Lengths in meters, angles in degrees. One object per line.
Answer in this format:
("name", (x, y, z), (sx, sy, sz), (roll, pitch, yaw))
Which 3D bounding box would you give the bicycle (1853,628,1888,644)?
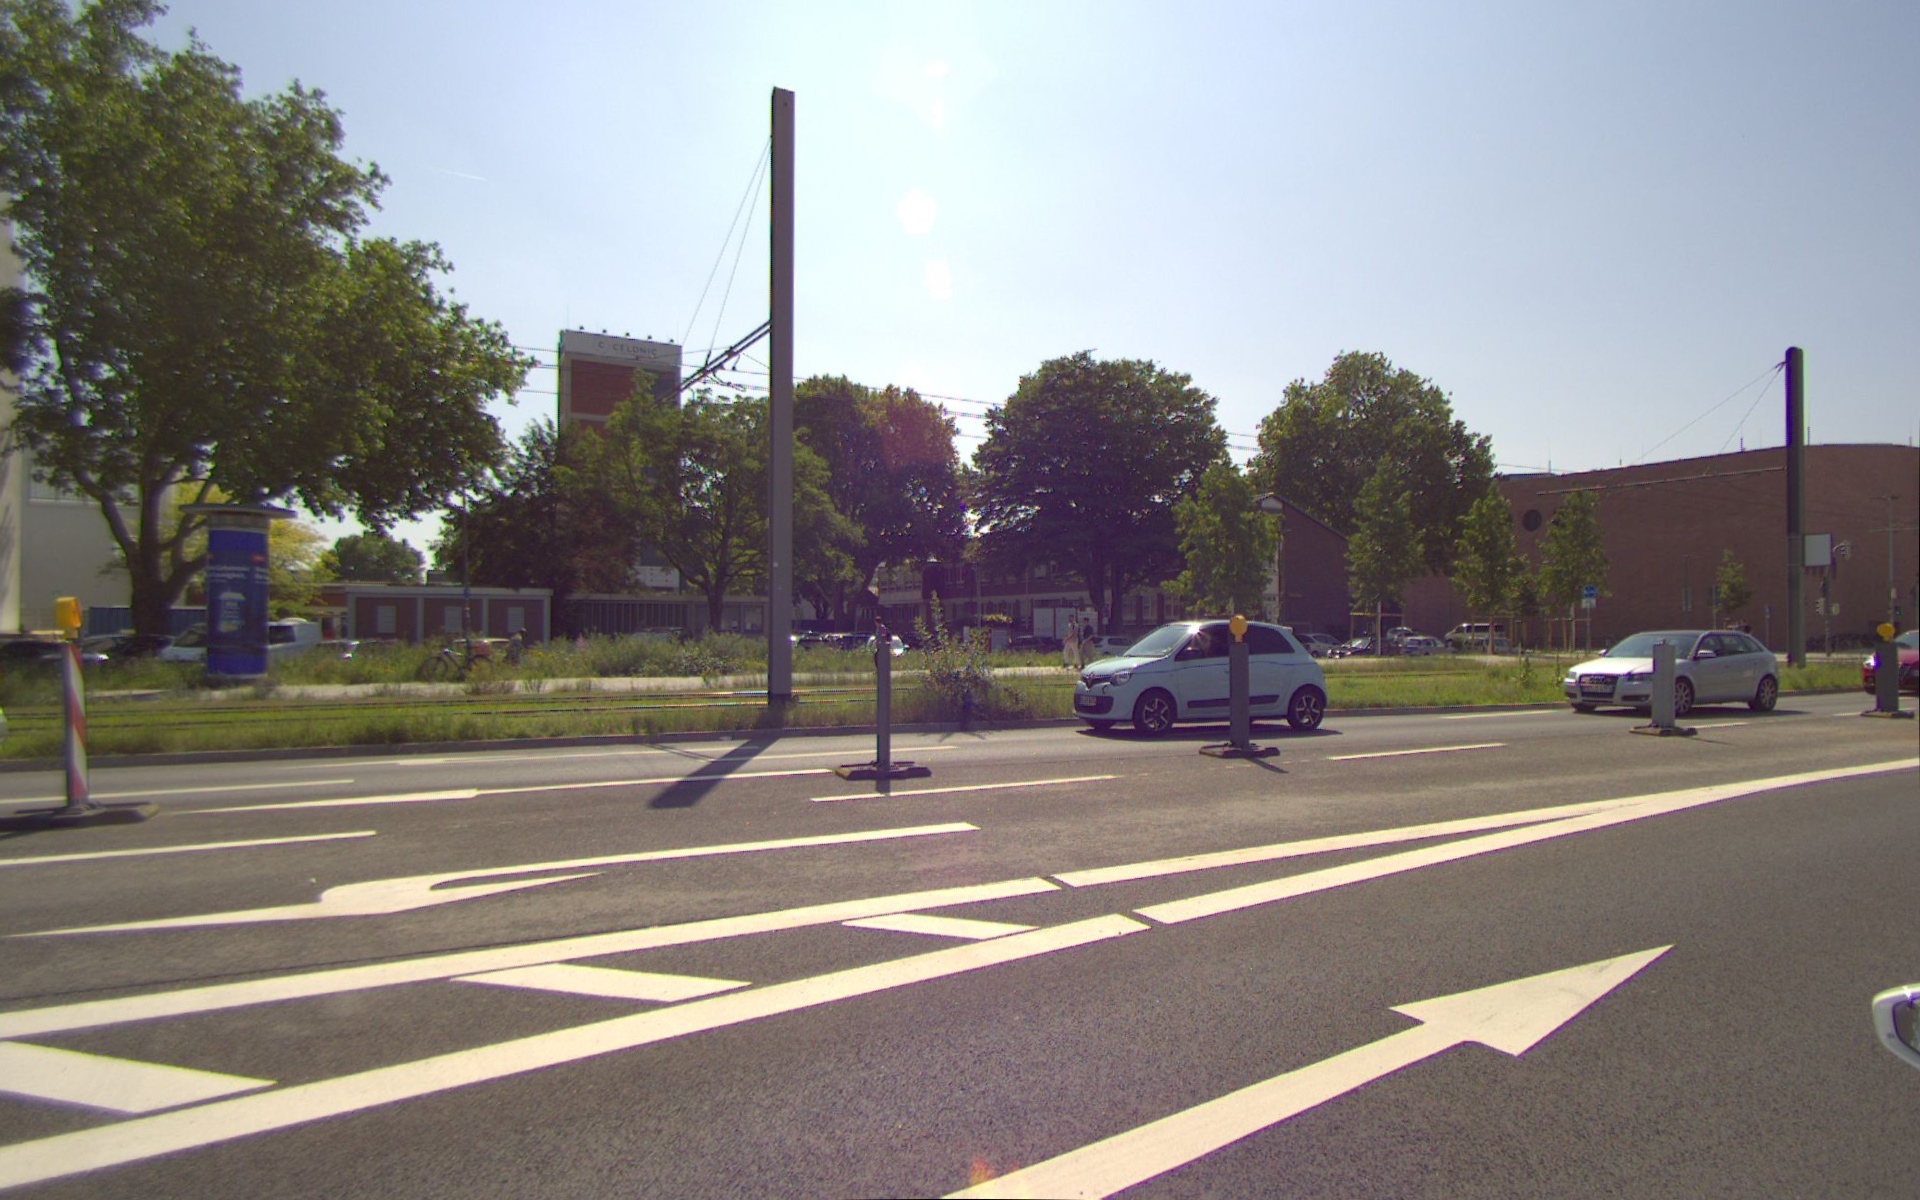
("bicycle", (71.851, 2.838, 79.284), (0.535, 1.228, 2.035), (0, -1, -38))

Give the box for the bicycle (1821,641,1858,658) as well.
("bicycle", (65.121, 3.651, 74.386), (0.535, 1.228, 2.035), (0, -1, -38))

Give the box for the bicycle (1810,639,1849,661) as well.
("bicycle", (60.767, 3.497, 70.201), (0.535, 1.472, 2.035), (0, -1, -38))

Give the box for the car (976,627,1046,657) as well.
("car", (2.699, 2.231, 53.959), (1.533, 1.476, 3.702), (1, -1, -45))

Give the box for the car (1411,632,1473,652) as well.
("car", (36.956, 3.208, 77.141), (1.972, 1.421, 3.978), (2, -1, -23))

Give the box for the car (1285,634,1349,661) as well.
("car", (21.242, 2.794, 59.695), (3.741, 1.476, 1.532), (1, -1, -29))

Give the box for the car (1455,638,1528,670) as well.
("car", (30.963, 3.135, 58.464), (4.248, 1.784, 1.691), (2, -1, -29))

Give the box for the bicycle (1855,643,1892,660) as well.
("bicycle", (69.791, 3.958, 76.778), (0.535, 1.228, 2.035), (0, -1, -38))

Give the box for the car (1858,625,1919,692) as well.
("car", (22.114, 1.310, 22.669), (3.951, 1.435, 1.573), (1, -2, -30))

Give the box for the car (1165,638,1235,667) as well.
("car", (12.989, 2.837, 54.374), (3.747, 1.476, 1.529), (1, -1, -33))

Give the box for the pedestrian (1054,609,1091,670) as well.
("pedestrian", (3.790, 1.322, 33.878), (0.970, 2.040, 0.836), (1, 0, -26))

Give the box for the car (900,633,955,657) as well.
("car", (-2.145, 2.948, 66.598), (3.307, 1.472, 1.529), (1, 0, -31))

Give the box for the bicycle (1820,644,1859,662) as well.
("bicycle", (62.425, 3.731, 71.311), (0.535, 1.228, 2.035), (0, -1, -38))

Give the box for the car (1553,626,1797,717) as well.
("car", (12.538, 1.205, 17.585), (4.237, 1.435, 1.576), (1, -2, -25))

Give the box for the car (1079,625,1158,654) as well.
("car", (8.401, 2.095, 53.163), (4.223, 1.476, 1.529), (2, -1, -34))

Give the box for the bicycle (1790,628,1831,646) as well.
("bicycle", (57.135, 2.475, 67.484), (0.535, 1.228, 2.035), (1, -1, -38))

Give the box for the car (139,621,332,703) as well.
("car", (-21.254, 1.742, 29.805), (2.072, 2.208, 5.076), (1, -1, -1))

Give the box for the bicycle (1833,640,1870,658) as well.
("bicycle", (66.822, 3.661, 75.275), (0.535, 1.228, 2.035), (0, -1, -38))

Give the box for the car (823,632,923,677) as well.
("car", (-3.499, 2.161, 40.498), (3.599, 1.612, 1.757), (1, 0, -34))

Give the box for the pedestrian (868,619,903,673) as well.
("pedestrian", (-2.226, 1.370, 30.118), (0.815, 1.597, 0.812), (1, -1, -23))

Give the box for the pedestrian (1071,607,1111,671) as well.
("pedestrian", (4.309, 1.260, 32.977), (0.898, 2.040, 0.980), (1, 0, -26))

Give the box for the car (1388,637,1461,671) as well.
("car", (25.715, 2.983, 55.603), (3.891, 1.784, 1.691), (2, -1, -28))

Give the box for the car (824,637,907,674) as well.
("car", (-4.553, 2.631, 48.540), (3.599, 1.612, 1.757), (1, 0, -34))

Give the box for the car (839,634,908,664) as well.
("car", (-4.568, 2.561, 53.260), (3.307, 1.472, 1.529), (1, 0, -31))

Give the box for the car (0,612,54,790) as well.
("car", (-9.942, 0.799, 7.470), (4.410, 1.462, 1.668), (1, -3, -26))

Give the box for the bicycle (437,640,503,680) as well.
("bicycle", (-12.756, 1.549, 26.179), (1.536, 0.999, 0.459), (1, -1, -26))

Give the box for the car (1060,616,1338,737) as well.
("car", (3.373, 1.056, 14.239), (3.568, 1.550, 1.578), (1, -4, -22))

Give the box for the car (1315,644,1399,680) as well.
("car", (21.089, 3.267, 53.297), (4.475, 1.784, 1.691), (2, -1, -29))

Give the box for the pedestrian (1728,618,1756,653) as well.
("pedestrian", (42.722, 1.924, 54.866), (1.092, 1.871, 0.809), (1, -1, -26))

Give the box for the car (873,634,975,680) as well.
("car", (-1.379, 2.162, 39.018), (3.599, 1.612, 1.757), (1, 0, -34))

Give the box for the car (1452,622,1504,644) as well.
("car", (42.816, 2.724, 83.064), (1.672, 1.712, 3.529), (0, 0, -28))
